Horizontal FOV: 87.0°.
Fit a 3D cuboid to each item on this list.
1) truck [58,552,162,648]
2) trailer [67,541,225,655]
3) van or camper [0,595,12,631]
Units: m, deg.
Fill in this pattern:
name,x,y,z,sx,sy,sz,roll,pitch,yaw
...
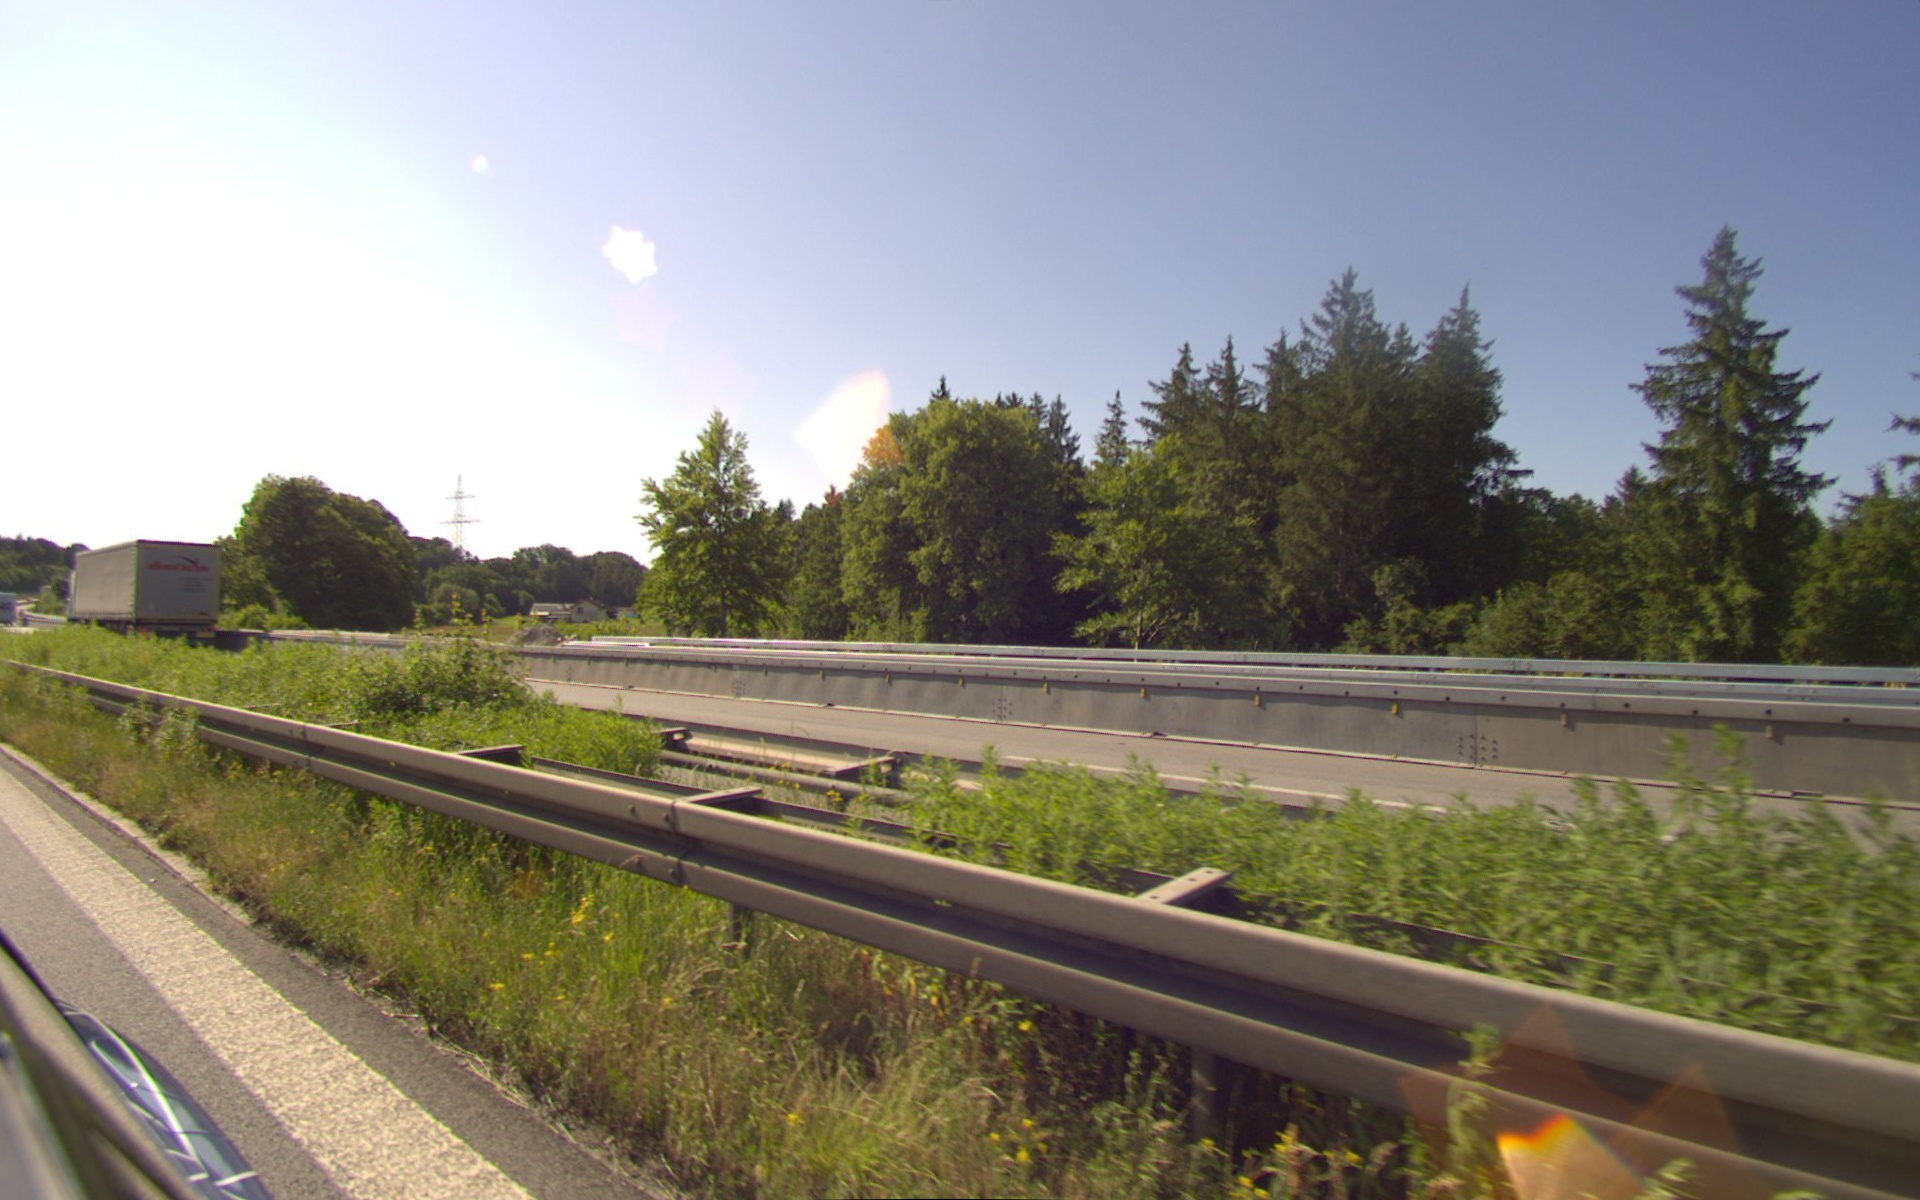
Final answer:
name,x,y,z,sx,sy,sz,roll,pitch,yaw
truck,-38.856,0.085,46.212,5.473,4.119,2.741,-1,-3,42
trailer,-33.901,0.040,41.799,13.991,4.101,2.712,-1,-3,42
van or camper,-82.967,1.133,86.371,7.521,2.973,2.380,-1,-2,43
